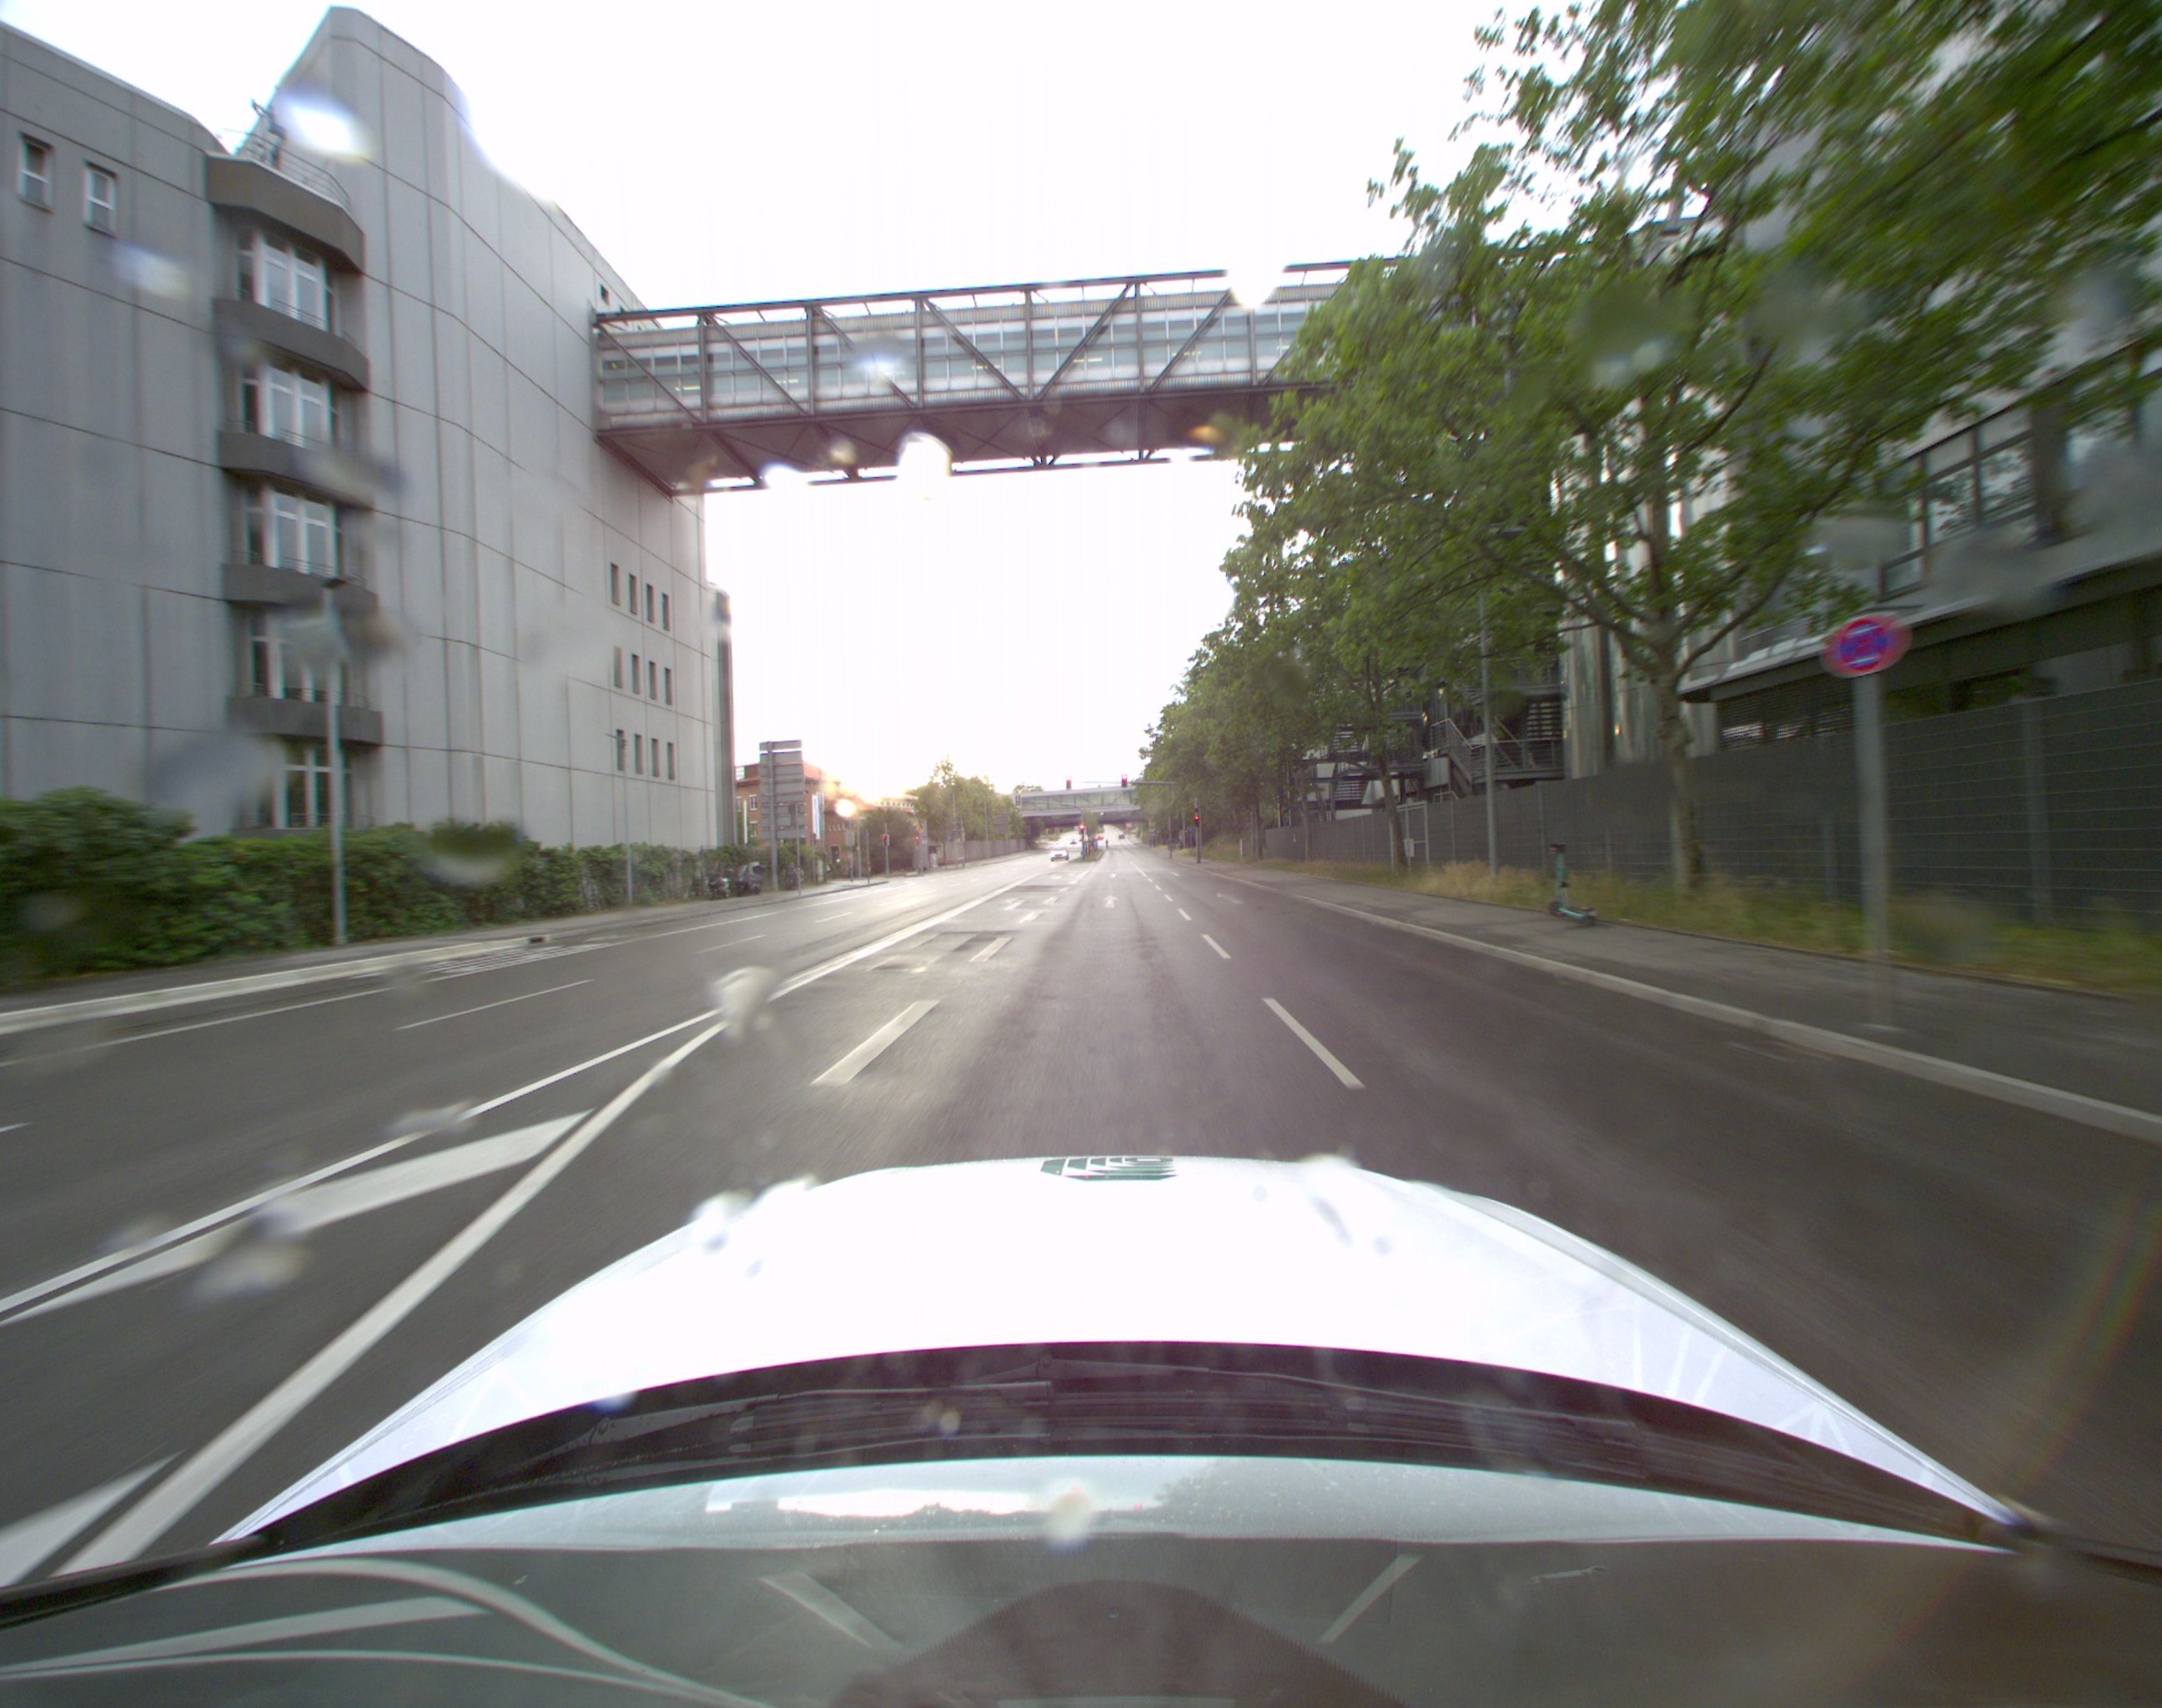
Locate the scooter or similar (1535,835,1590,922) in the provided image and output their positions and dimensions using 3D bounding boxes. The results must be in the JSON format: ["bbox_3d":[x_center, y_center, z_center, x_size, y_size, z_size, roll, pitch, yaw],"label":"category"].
[{"bbox_3d":[7.412,0.356,12.567,0.326,1.269,1.112,-3,0,11],"label":"scooter or similar"}]

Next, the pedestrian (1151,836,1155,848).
[{"bbox_3d":[12.433,-2.015,140.346,0.619,2.013,0.606,-3,0,3],"label":"pedestrian"}]

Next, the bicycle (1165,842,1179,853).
[{"bbox_3d":[12.777,-0.899,114.685,1.982,1.430,0.723,0,-1,3],"label":"bicycle"}]

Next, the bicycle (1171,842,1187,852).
[{"bbox_3d":[12.405,-0.848,103.007,1.982,1.216,0.541,0,-1,3],"label":"bicycle"}]

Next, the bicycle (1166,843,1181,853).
[{"bbox_3d":[13.121,-0.846,115.525,1.982,1.328,0.577,0,-1,3],"label":"bicycle"}]

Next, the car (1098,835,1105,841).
[{"bbox_3d":[6.292,-5.019,254.477,1.985,1.762,4.003,0,0,3],"label":"car"}]

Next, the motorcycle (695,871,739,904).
[{"bbox_3d":[-15.269,1.378,34.219,0.782,1.250,2.158,-3,0,2],"label":"motorcycle"}]

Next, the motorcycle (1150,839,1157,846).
[{"bbox_3d":[14.929,-2.350,167.553,0.789,1.311,2.372,-3,0,-5],"label":"motorcycle"}]

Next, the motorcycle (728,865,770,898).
[{"bbox_3d":[-15.010,1.233,36.892,0.782,1.347,2.371,-3,0,2],"label":"motorcycle"}]

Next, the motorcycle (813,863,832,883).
[{"bbox_3d":[-17.186,1.248,54.045,0.774,1.218,2.487,-3,0,-26],"label":"motorcycle"}]

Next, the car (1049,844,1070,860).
[{"bbox_3d":[-2.295,-0.223,87.636,1.869,1.624,3.782,-3,1,3],"label":"car"}]

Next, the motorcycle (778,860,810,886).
[{"bbox_3d":[-14.970,0.959,42.534,0.782,1.247,2.158,-3,0,2],"label":"motorcycle"}]

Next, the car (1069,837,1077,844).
[{"bbox_3d":[-2.226,-3.721,224.952,1.869,1.624,3.782,-3,1,3],"label":"car"}]

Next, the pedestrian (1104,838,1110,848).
[{"bbox_3d":[5.260,-2.215,166.813,0.864,2.004,0.859,-3,0,20],"label":"pedestrian"}]

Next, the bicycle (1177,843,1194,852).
[{"bbox_3d":[13.011,-0.797,101.519,1.982,1.094,0.541,0,-1,3],"label":"bicycle"}]

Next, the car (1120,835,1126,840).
[{"bbox_3d":[12.795,-5.144,249.915,1.867,1.497,4.071,0,0,3],"label":"car"}]

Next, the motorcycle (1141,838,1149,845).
[{"bbox_3d":[13.554,-2.624,172.580,0.791,1.311,2.364,-3,0,-15],"label":"motorcycle"}]

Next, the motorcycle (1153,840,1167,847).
[{"bbox_3d":[14.396,-1.899,148.657,2.354,1.202,0.724,-3,0,10],"label":"motorcycle"}]
